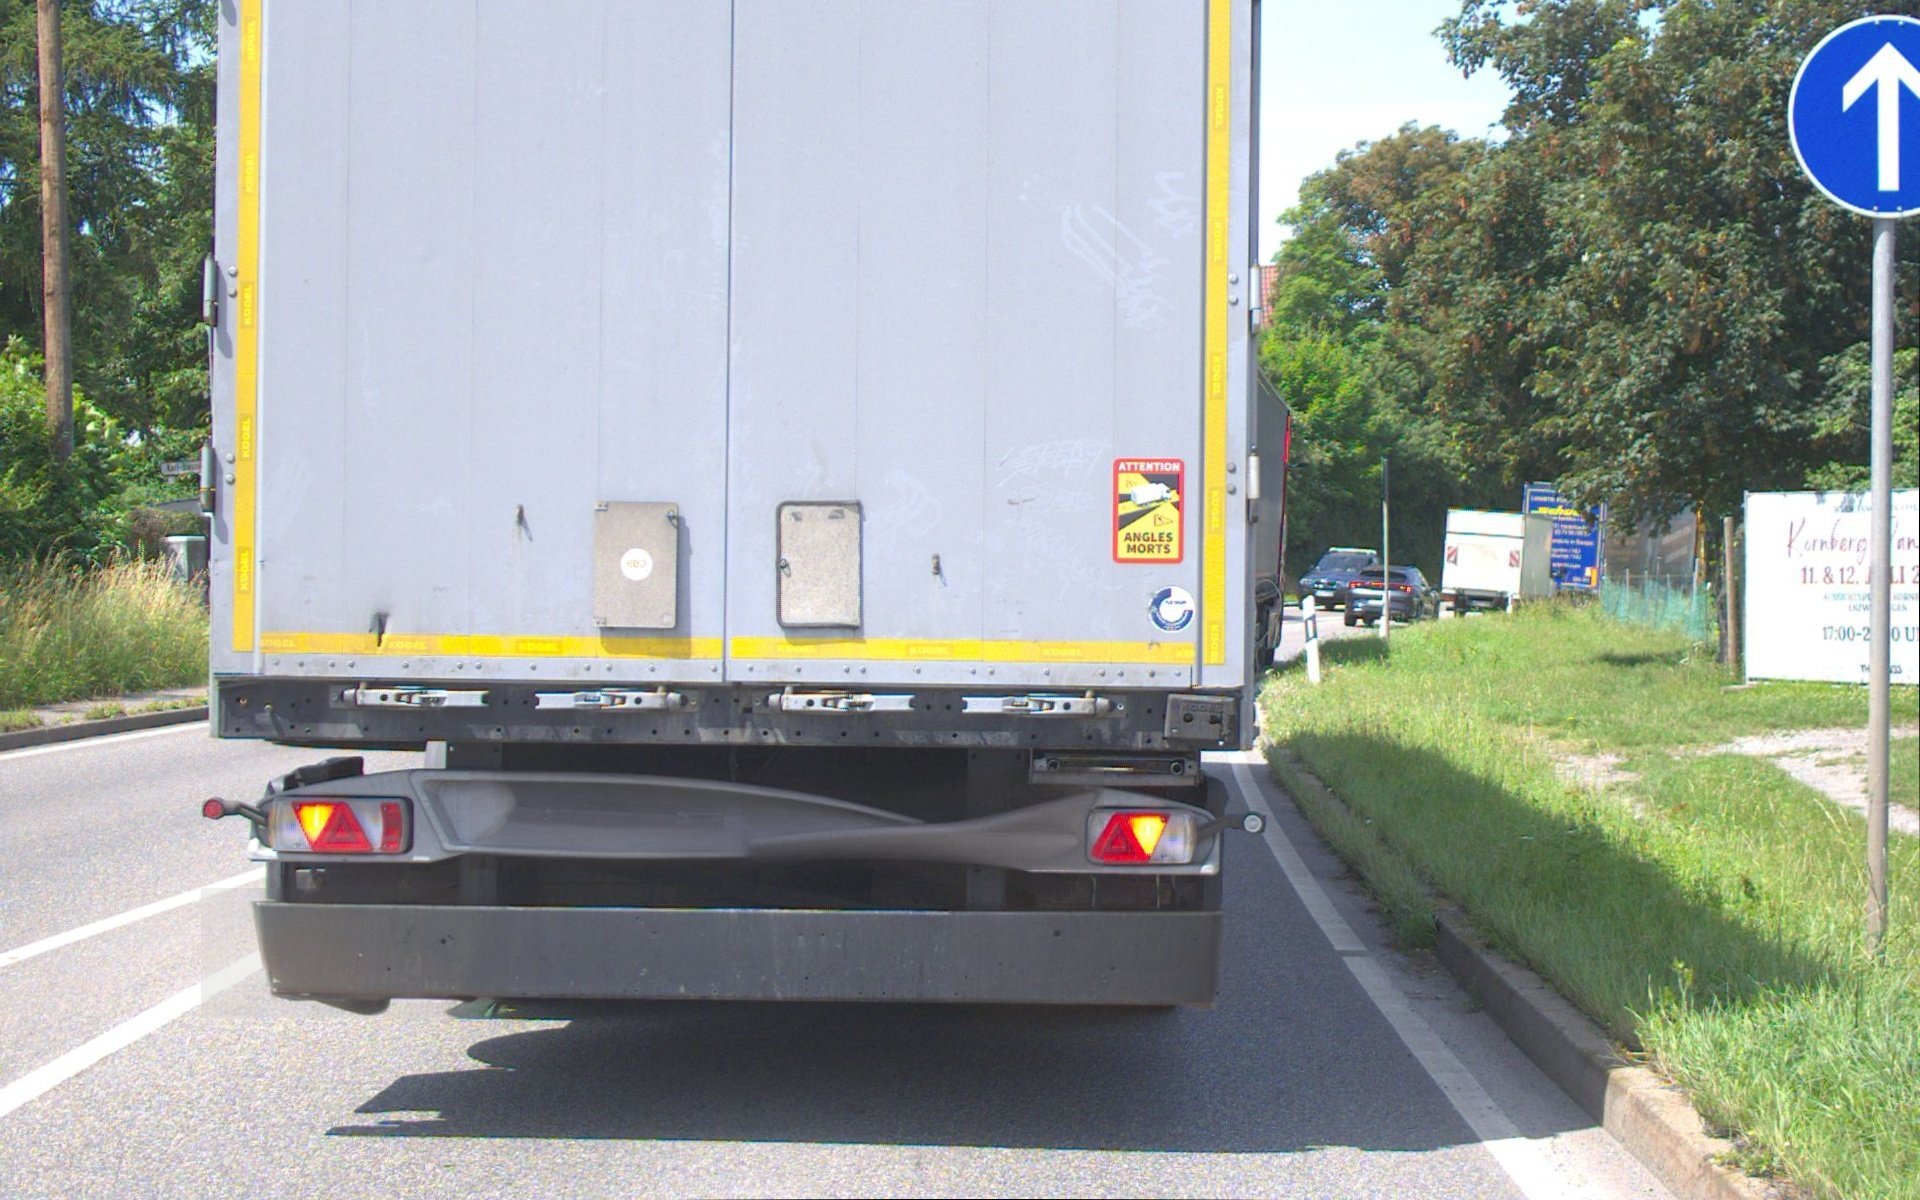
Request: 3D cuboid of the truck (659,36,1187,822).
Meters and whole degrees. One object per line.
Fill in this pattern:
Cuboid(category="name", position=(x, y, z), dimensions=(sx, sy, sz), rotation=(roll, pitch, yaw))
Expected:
Cuboid(category="truck", position=(-0.005, -0.993, 21.320), dimensions=(2.746, 4.151, 6.142), rotation=(1, 1, 4))

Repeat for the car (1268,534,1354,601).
Cuboid(category="car", position=(9.985, -0.950, 97.544), dimensions=(1.994, 1.831, 3.998), rotation=(0, 1, 12))

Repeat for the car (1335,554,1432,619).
Cuboid(category="car", position=(10.324, -0.347, 83.645), dimensions=(1.842, 1.481, 3.998), rotation=(1, 1, 14))

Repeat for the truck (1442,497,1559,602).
Cuboid(category="truck", position=(14.982, -1.428, 95.120), dimensions=(2.422, 2.828, 5.408), rotation=(1, 2, 17))

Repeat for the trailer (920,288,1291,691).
Cuboid(category="trailer", position=(2.234, -1.348, 44.988), dimensions=(3.892, 4.505, 12.710), rotation=(0, 1, 7))

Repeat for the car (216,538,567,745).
Cuboid(category="car", position=(-4.252, 0.250, 26.432), dimensions=(1.815, 1.412, 4.615), rotation=(0, 1, 2))

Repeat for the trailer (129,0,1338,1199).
Cuboid(category="trailer", position=(-0.332, -0.832, 13.990), dimensions=(2.787, 4.191, 12.111), rotation=(1, 2, 2))

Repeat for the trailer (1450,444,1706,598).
Cuboid(category="trailer", position=(20.237, -2.575, 111.222), dimensions=(5.185, 4.612, 15.879), rotation=(1, 2, 21))

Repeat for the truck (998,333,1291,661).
Cuboid(category="truck", position=(2.907, -1.501, 51.604), dimensions=(3.938, 4.559, 7.150), rotation=(0, 1, 7))
